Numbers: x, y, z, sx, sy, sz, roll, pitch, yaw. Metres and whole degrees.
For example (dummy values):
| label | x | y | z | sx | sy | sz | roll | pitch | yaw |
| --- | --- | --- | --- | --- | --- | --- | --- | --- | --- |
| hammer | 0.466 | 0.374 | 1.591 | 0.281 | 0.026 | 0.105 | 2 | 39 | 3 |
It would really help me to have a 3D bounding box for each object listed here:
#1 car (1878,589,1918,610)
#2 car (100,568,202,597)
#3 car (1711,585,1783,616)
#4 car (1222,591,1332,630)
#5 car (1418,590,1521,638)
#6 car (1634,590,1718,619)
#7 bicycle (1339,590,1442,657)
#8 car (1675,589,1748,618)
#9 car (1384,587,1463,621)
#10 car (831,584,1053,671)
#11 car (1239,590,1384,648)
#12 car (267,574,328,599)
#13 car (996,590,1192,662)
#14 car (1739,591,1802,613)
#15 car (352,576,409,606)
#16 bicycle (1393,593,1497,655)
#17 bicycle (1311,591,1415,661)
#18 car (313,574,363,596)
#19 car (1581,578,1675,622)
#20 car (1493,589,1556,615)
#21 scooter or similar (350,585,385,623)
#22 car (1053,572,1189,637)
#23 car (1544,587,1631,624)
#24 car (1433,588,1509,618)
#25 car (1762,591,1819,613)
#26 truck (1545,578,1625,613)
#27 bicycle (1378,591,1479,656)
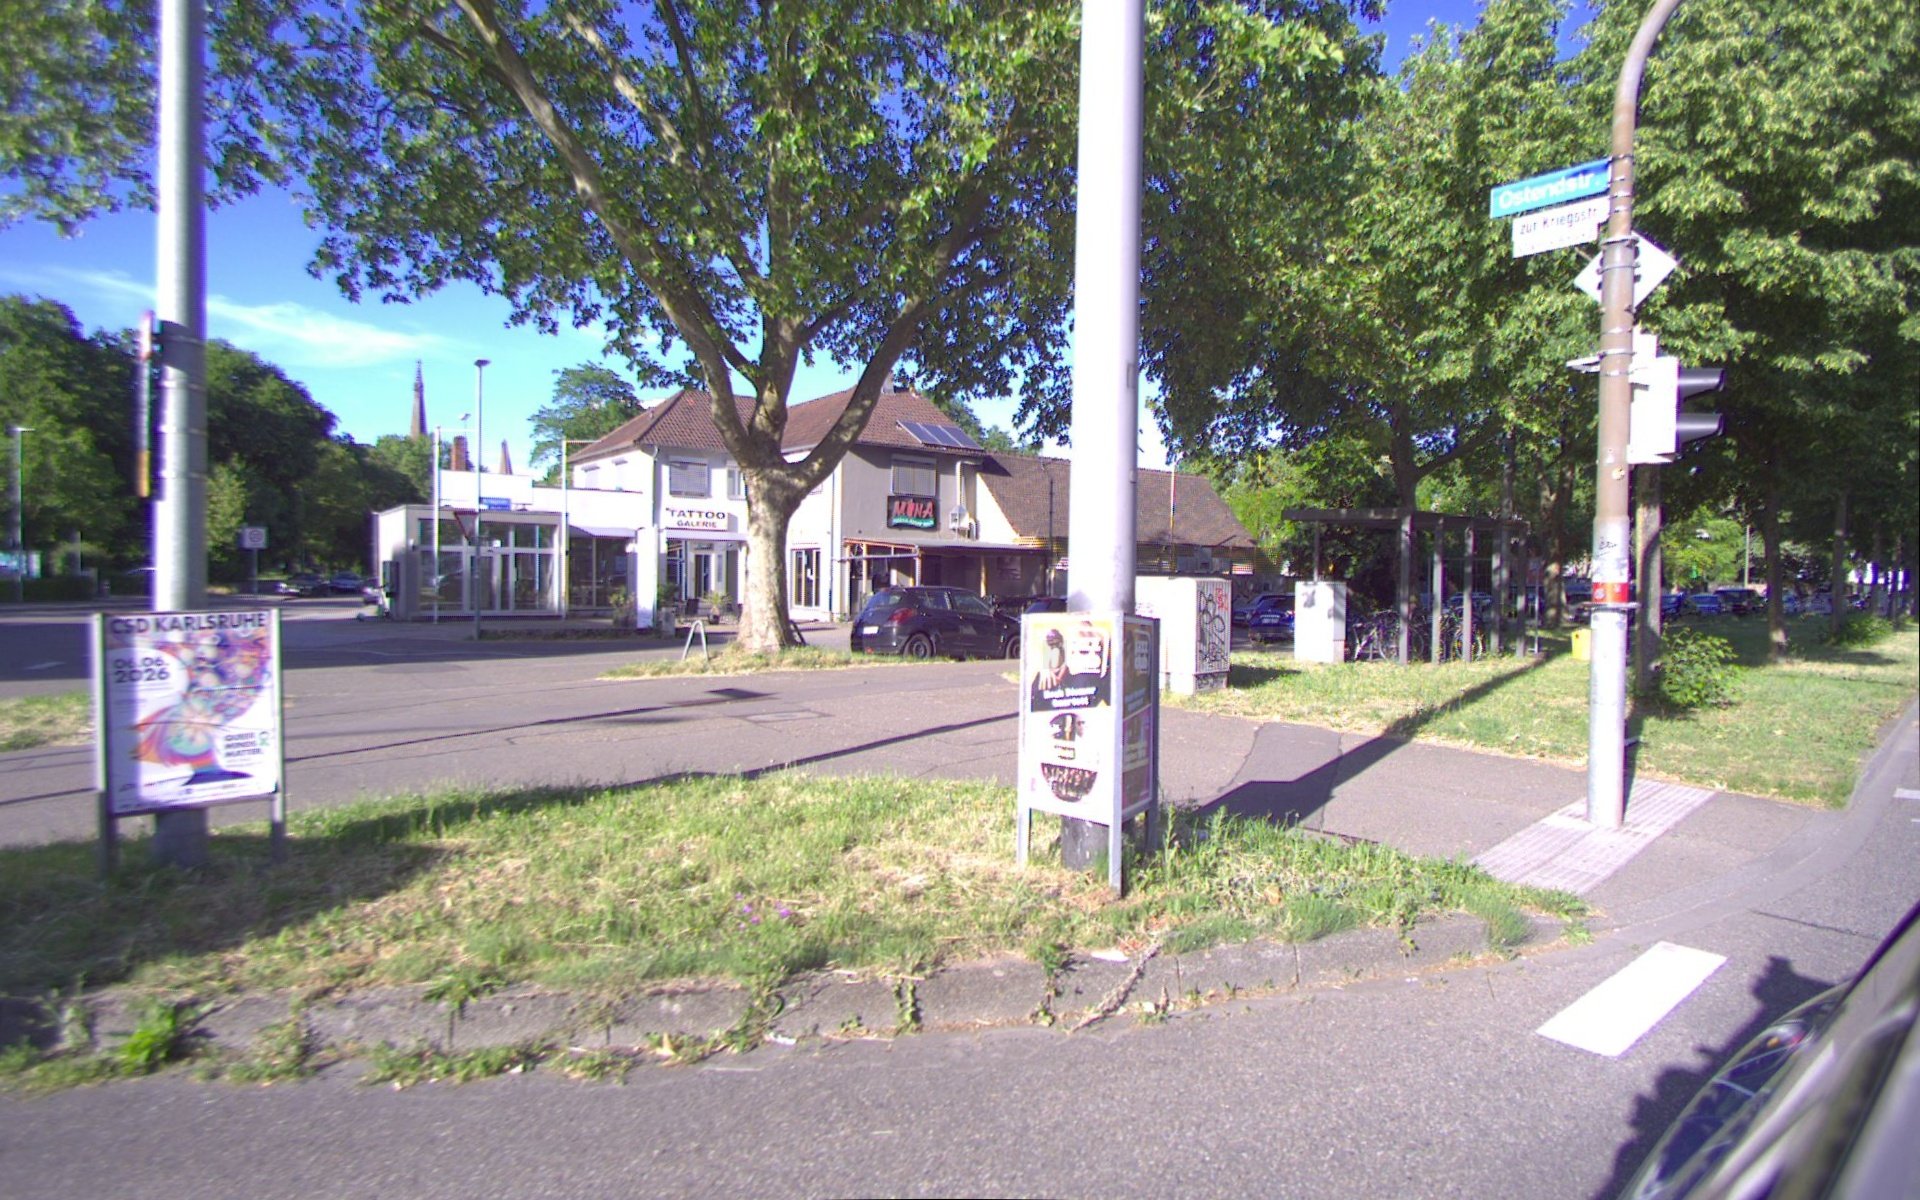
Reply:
| label | x | y | z | sx | sy | sz | roll | pitch | yaw |
| --- | --- | --- | --- | --- | --- | --- | --- | --- | --- |
| car | 73.079 | -0.039 | 78.844 | 3.932 | 1.605 | 1.996 | 0 | 0 | -42 |
| car | -44.338 | -0.928 | 55.566 | 3.934 | 1.484 | 2.004 | 1 | 0 | -18 |
| car | 42.631 | -0.013 | 54.800 | 4.569 | 1.616 | 1.999 | 0 | 0 | -37 |
| car | 13.011 | 0.373 | 41.405 | 4.824 | 1.504 | 1.898 | 0 | 0 | -38 |
| car | 17.362 | 0.431 | 34.413 | 3.982 | 1.504 | 1.896 | 0 | 1 | -43 |
| car | 33.332 | 0.181 | 47.069 | 4.570 | 1.265 | 1.998 | 0 | 1 | -39 |
| bicycle | 7.934 | 0.410 | 18.703 | 0.541 | 1.184 | 1.699 | 0 | 0 | -40 |
| car | 38.373 | 0.146 | 51.633 | 4.780 | 1.380 | 1.997 | 0 | 1 | -41 |
| car | 23.154 | 0.163 | 50.474 | 4.577 | 1.548 | 1.996 | 0 | 3 | -44 |
| car | -0.285 | 0.455 | 19.329 | 3.966 | 1.484 | 1.897 | 0 | 0 | -40 |
| car | 9.890 | 0.477 | 28.332 | 4.268 | 1.507 | 1.898 | 0 | 0 | -39 |
| car | -41.060 | -0.844 | 62.794 | 1.958 | 1.483 | 4.483 | 1 | 1 | -17 |
| car | 3.007 | 0.507 | 22.248 | 4.269 | 1.429 | 1.898 | 0 | 0 | -40 |
| car | 46.708 | 0.120 | 58.301 | 4.039 | 1.226 | 1.998 | 0 | 1 | -39 |
| car | -29.979 | -0.481 | 52.458 | 1.958 | 1.483 | 4.009 | 1 | 1 | -21 |
| bicycle | 9.628 | 0.449 | 20.144 | 0.541 | 1.184 | 1.807 | 0 | 0 | -39 |
| bicycle | 7.109 | 0.429 | 17.925 | 0.540 | 1.184 | 1.702 | 0 | 0 | -34 |
| car | -44.152 | -1.107 | 71.946 | 1.958 | 1.483 | 4.483 | 1 | 1 | -17 |
| car | 28.809 | -0.025 | 43.578 | 4.931 | 1.764 | 2.037 | 0 | 0 | -39 |
| car | 32.374 | 0.076 | 57.987 | 4.098 | 1.420 | 1.795 | 0 | 0 | -40 |
| scooter or similar | -18.885 | 0.117 | 32.242 | 0.994 | 1.178 | 0.262 | 1 | 0 | 5 |
| car | 5.656 | 0.117 | 35.113 | 4.982 | 2.062 | 1.898 | 0 | 2 | -41 |
| car | 25.004 | 0.196 | 40.310 | 3.846 | 1.398 | 1.941 | 0 | 1 | -42 |
| car | 27.278 | 0.119 | 54.010 | 4.572 | 1.548 | 1.997 | 0 | 0 | -40 |
| car | 50.798 | 0.096 | 61.907 | 4.466 | 1.332 | 1.997 | 0 | 1 | -41 |
| truck | 39.476 | -0.305 | 63.872 | 6.464 | 2.101 | 2.453 | 0 | 0 | -40 |
| bicycle | 8.941 | 0.431 | 19.363 | 0.541 | 1.184 | 1.699 | 0 | 0 | -41 |
